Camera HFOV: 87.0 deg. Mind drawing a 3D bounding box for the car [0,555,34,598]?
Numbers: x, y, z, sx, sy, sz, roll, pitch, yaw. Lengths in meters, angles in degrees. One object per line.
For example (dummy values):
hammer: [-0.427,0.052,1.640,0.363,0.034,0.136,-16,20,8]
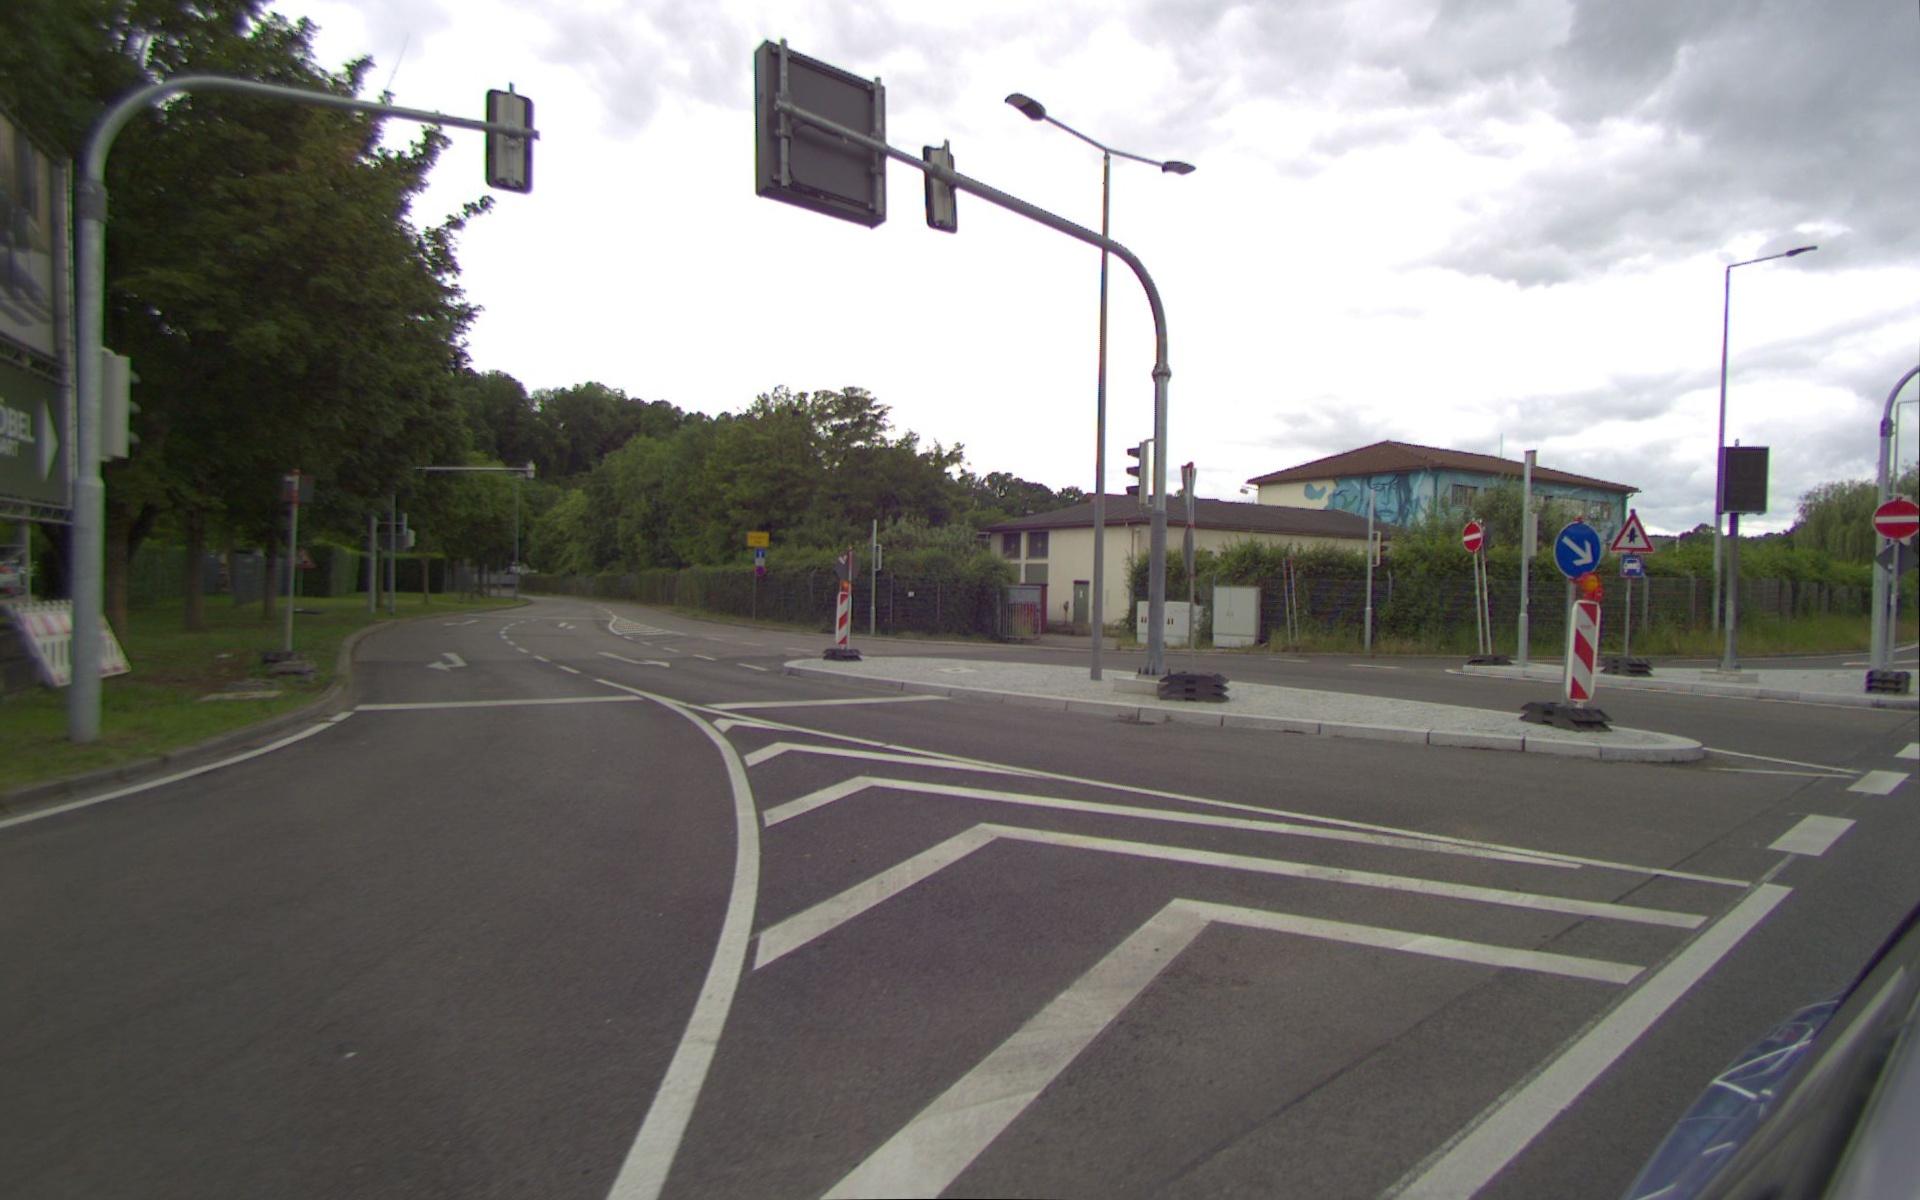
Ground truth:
car: [-49.667,-1.190,50.727,4.441,2.145,2.134,1,-1,-34]
